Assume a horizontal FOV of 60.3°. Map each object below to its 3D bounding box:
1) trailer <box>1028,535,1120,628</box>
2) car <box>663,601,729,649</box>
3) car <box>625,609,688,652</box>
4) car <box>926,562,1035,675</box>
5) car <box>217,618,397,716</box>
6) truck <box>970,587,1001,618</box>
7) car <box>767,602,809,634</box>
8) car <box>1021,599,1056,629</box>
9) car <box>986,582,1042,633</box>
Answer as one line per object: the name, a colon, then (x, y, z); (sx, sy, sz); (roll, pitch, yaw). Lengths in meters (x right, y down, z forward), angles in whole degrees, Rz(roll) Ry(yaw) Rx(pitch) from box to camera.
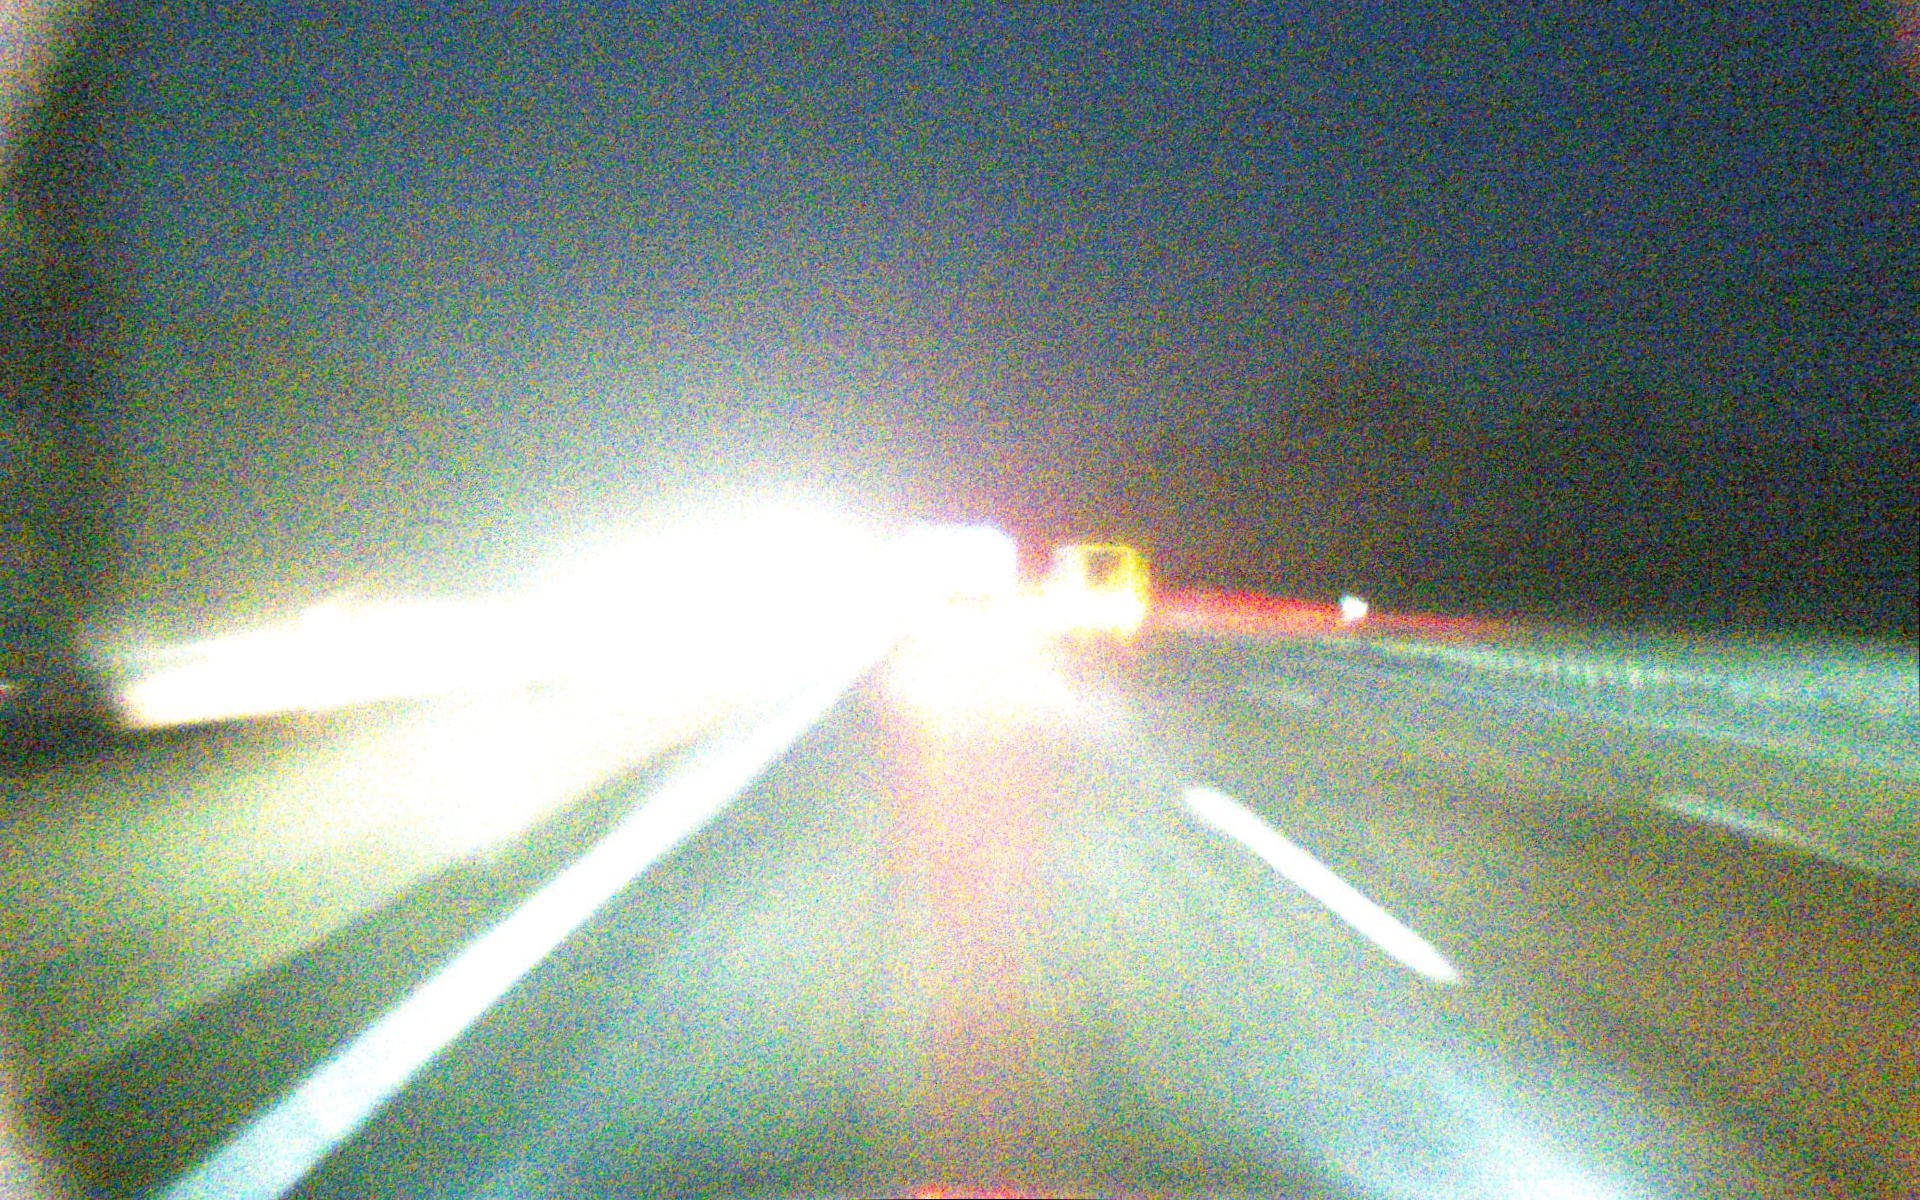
trailer: (5.519, -0.808, 82.682); (2.980, 4.180, 13.822); (-2, 0, -2)
car: (-10.023, 0.959, 63.080); (1.877, 1.713, 3.999); (-2, -1, 0)
car: (-13.062, 1.307, 71.489); (1.877, 1.713, 4.505); (-2, -1, 0)
car: (0.337, 0.357, 32.370); (1.953, 2.049, 3.998); (1, -1, -2)
car: (-12.567, 1.245, 32.111); (1.877, 1.713, 3.999); (-2, -1, 0)
truck: (2.941, 0.338, 193.357); (2.976, 3.355, 11.375); (-2, 0, -2)
car: (-9.752, 1.046, 94.156); (1.877, 1.713, 4.505); (-2, -1, 0)
car: (5.505, 1.000, 116.906); (1.954, 2.049, 3.996); (-2, 0, -4)
car: (2.303, 0.326, 71.689); (1.954, 2.049, 3.996); (-2, 0, -4)
